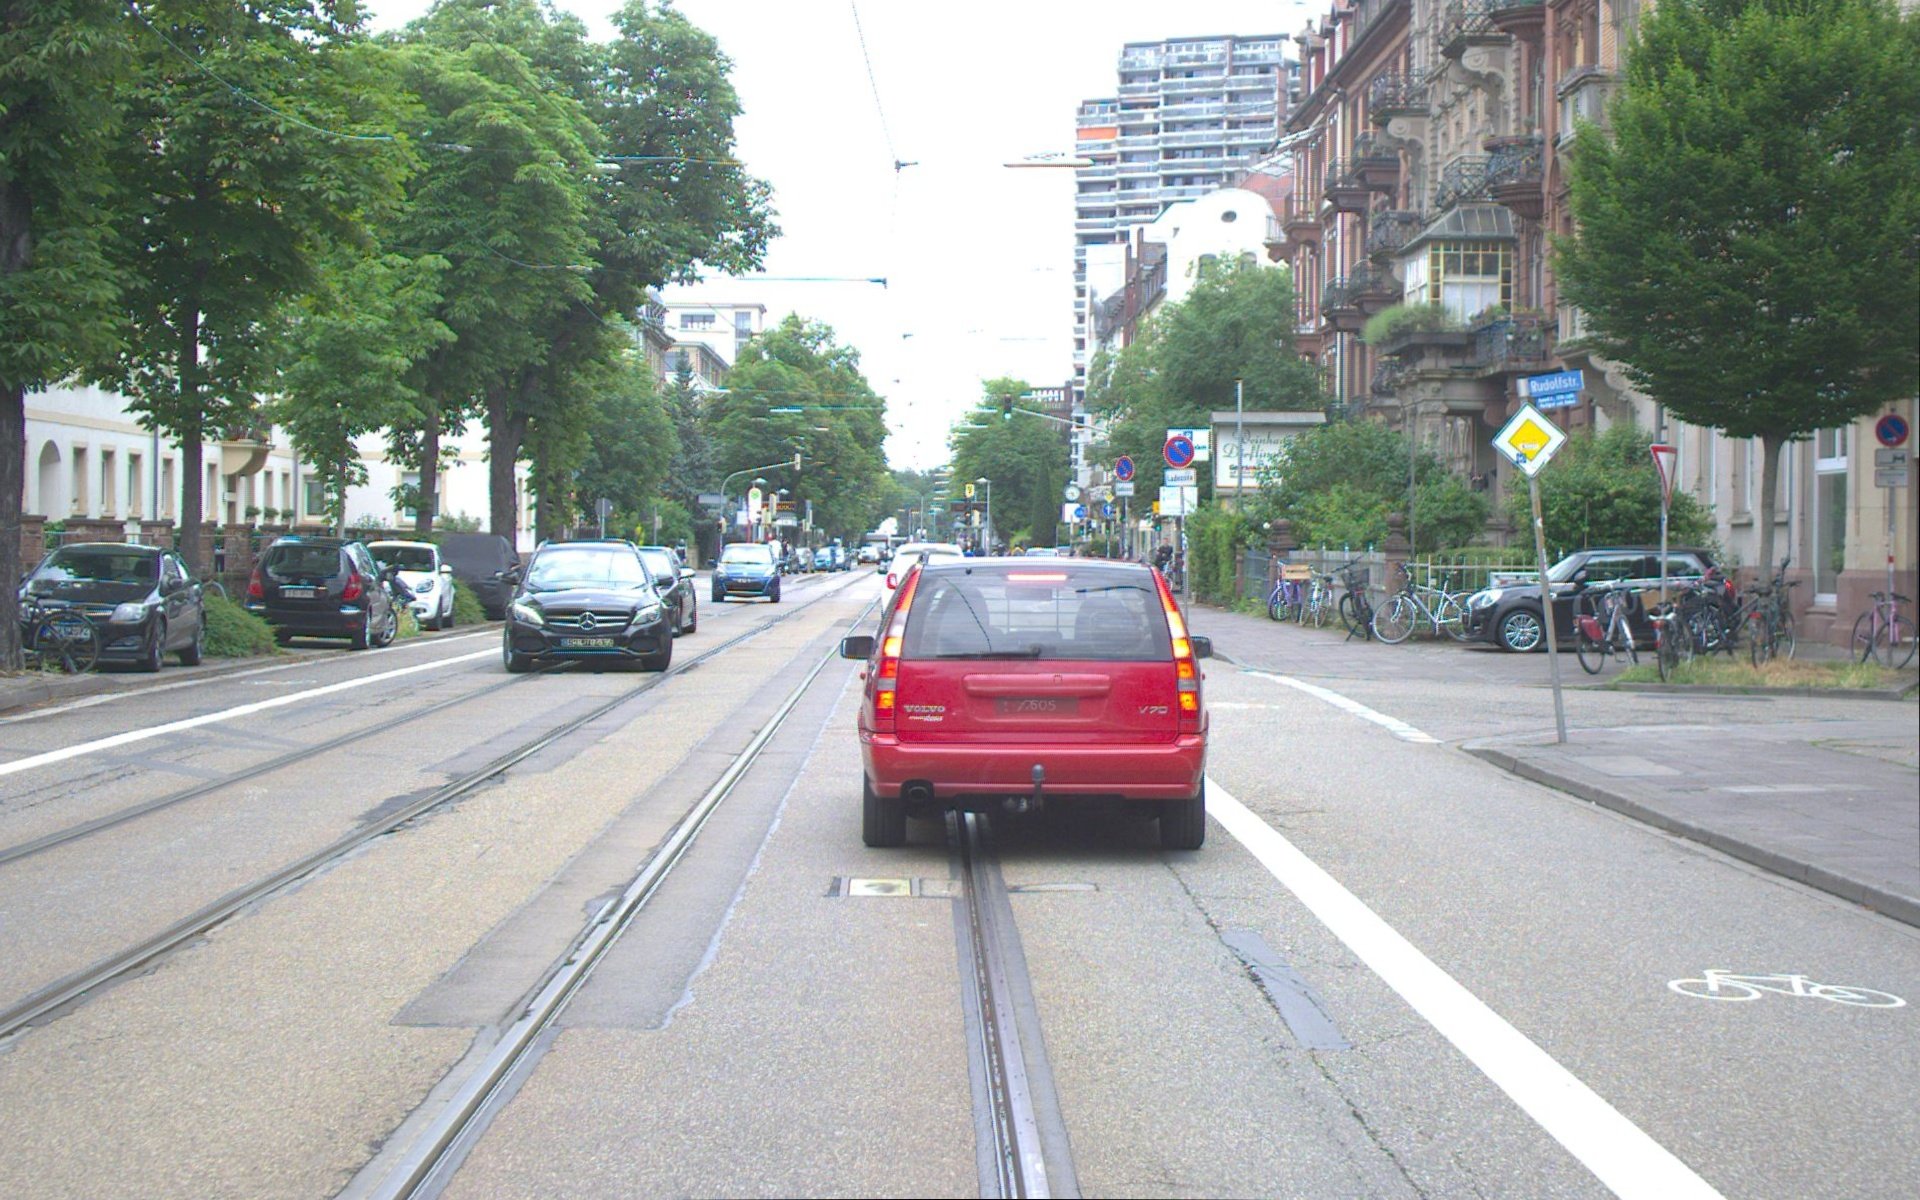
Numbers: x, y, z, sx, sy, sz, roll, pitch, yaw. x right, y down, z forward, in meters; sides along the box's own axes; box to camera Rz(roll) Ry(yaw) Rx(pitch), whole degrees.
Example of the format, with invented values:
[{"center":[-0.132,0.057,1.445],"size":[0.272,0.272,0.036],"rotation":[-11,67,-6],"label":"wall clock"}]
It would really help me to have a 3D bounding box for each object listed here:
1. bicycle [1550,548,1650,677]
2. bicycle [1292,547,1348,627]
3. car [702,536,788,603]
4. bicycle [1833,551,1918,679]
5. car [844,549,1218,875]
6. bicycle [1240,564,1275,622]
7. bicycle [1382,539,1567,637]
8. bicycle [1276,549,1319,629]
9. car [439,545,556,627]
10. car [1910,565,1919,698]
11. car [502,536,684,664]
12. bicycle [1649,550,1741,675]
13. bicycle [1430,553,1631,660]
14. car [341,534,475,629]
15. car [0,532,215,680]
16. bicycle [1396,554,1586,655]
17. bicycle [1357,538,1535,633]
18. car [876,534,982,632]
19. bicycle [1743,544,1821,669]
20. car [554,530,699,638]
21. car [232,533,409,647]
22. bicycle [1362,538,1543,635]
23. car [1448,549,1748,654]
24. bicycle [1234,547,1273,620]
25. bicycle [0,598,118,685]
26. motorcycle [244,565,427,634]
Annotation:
[{"center":[7.790,0.136,41.765],"size":[0.918,1.501,2.379],"rotation":[2,1,16],"label":"bicycle"},{"center":[5.977,-0.226,57.184],"size":[0.708,1.296,1.904],"rotation":[1,1,0],"label":"bicycle"},{"center":[-5.487,-0.797,88.194],"size":[1.894,1.605,4.500],"rotation":[2,1,0],"label":"car"},{"center":[11.263,0.161,42.238],"size":[0.918,1.501,2.379],"rotation":[1,1,16],"label":"bicycle"},{"center":[0.301,0.485,17.579],"size":[1.689,1.436,3.743],"rotation":[1,1,-1],"label":"car"},{"center":[5.802,-0.147,67.104],"size":[0.490,1.095,1.734],"rotation":[1,1,0],"label":"bicycle"},{"center":[8.859,-0.217,59.326],"size":[2.975,1.619,1.050],"rotation":[1,1,-2],"label":"bicycle"},{"center":[5.985,-0.202,61.012],"size":[0.551,1.395,1.734],"rotation":[1,1,0],"label":"bicycle"},{"center":[-8.842,-0.288,65.990],"size":[1.720,1.481,4.000],"rotation":[1,1,0],"label":"car"},{"center":[12.157,0.349,40.040],"size":[1.912,1.479,4.166],"rotation":[2,1,18],"label":"car"},{"center":[-4.203,-0.034,39.869],"size":[1.755,1.375,4.027],"rotation":[1,1,-1],"label":"car"},{"center":[9.227,0.141,43.114],"size":[0.918,1.501,2.379],"rotation":[1,1,16],"label":"bicycle"},{"center":[9.096,0.101,54.889],"size":[2.975,1.619,1.050],"rotation":[1,1,-2],"label":"bicycle"},{"center":[-9.824,-0.358,61.412],"size":[1.713,1.575,4.000],"rotation":[2,1,0],"label":"car"},{"center":[-9.380,0.023,37.117],"size":[1.718,1.477,4.000],"rotation":[1,1,1],"label":"car"},{"center":[8.929,0.063,57.889],"size":[2.975,1.619,1.050],"rotation":[1,1,-2],"label":"bicycle"},{"center":[8.708,-0.263,61.702],"size":[2.975,1.619,1.050],"rotation":[1,1,-2],"label":"bicycle"},{"center":[-0.516,-0.325,60.526],"size":[1.719,1.619,3.941],"rotation":[1,1,1],"label":"car"},{"center":[10.263,0.061,42.894],"size":[0.790,1.501,2.379],"rotation":[1,1,16],"label":"bicycle"},{"center":[-5.246,-0.285,54.602],"size":[1.894,1.605,4.500],"rotation":[1,1,-1],"label":"car"},{"center":[-9.274,-0.173,50.145],"size":[1.851,1.557,3.943],"rotation":[1,1,-1],"label":"car"},{"center":[8.666,-0.243,60.529],"size":[2.975,1.619,1.050],"rotation":[1,1,-2],"label":"bicycle"},{"center":[8.800,-0.002,47.593],"size":[3.988,1.357,1.891],"rotation":[1,1,10],"label":"car"},{"center":[6.036,-0.364,70.846],"size":[0.555,1.453,2.985],"rotation":[1,1,1],"label":"bicycle"},{"center":[-9.592,0.413,35.223],"size":[1.749,0.841,0.684],"rotation":[1,1,1],"label":"bicycle"},{"center":[-10.211,-0.010,56.314],"size":[2.869,1.073,1.100],"rotation":[1,1,-7],"label":"motorcycle"}]
